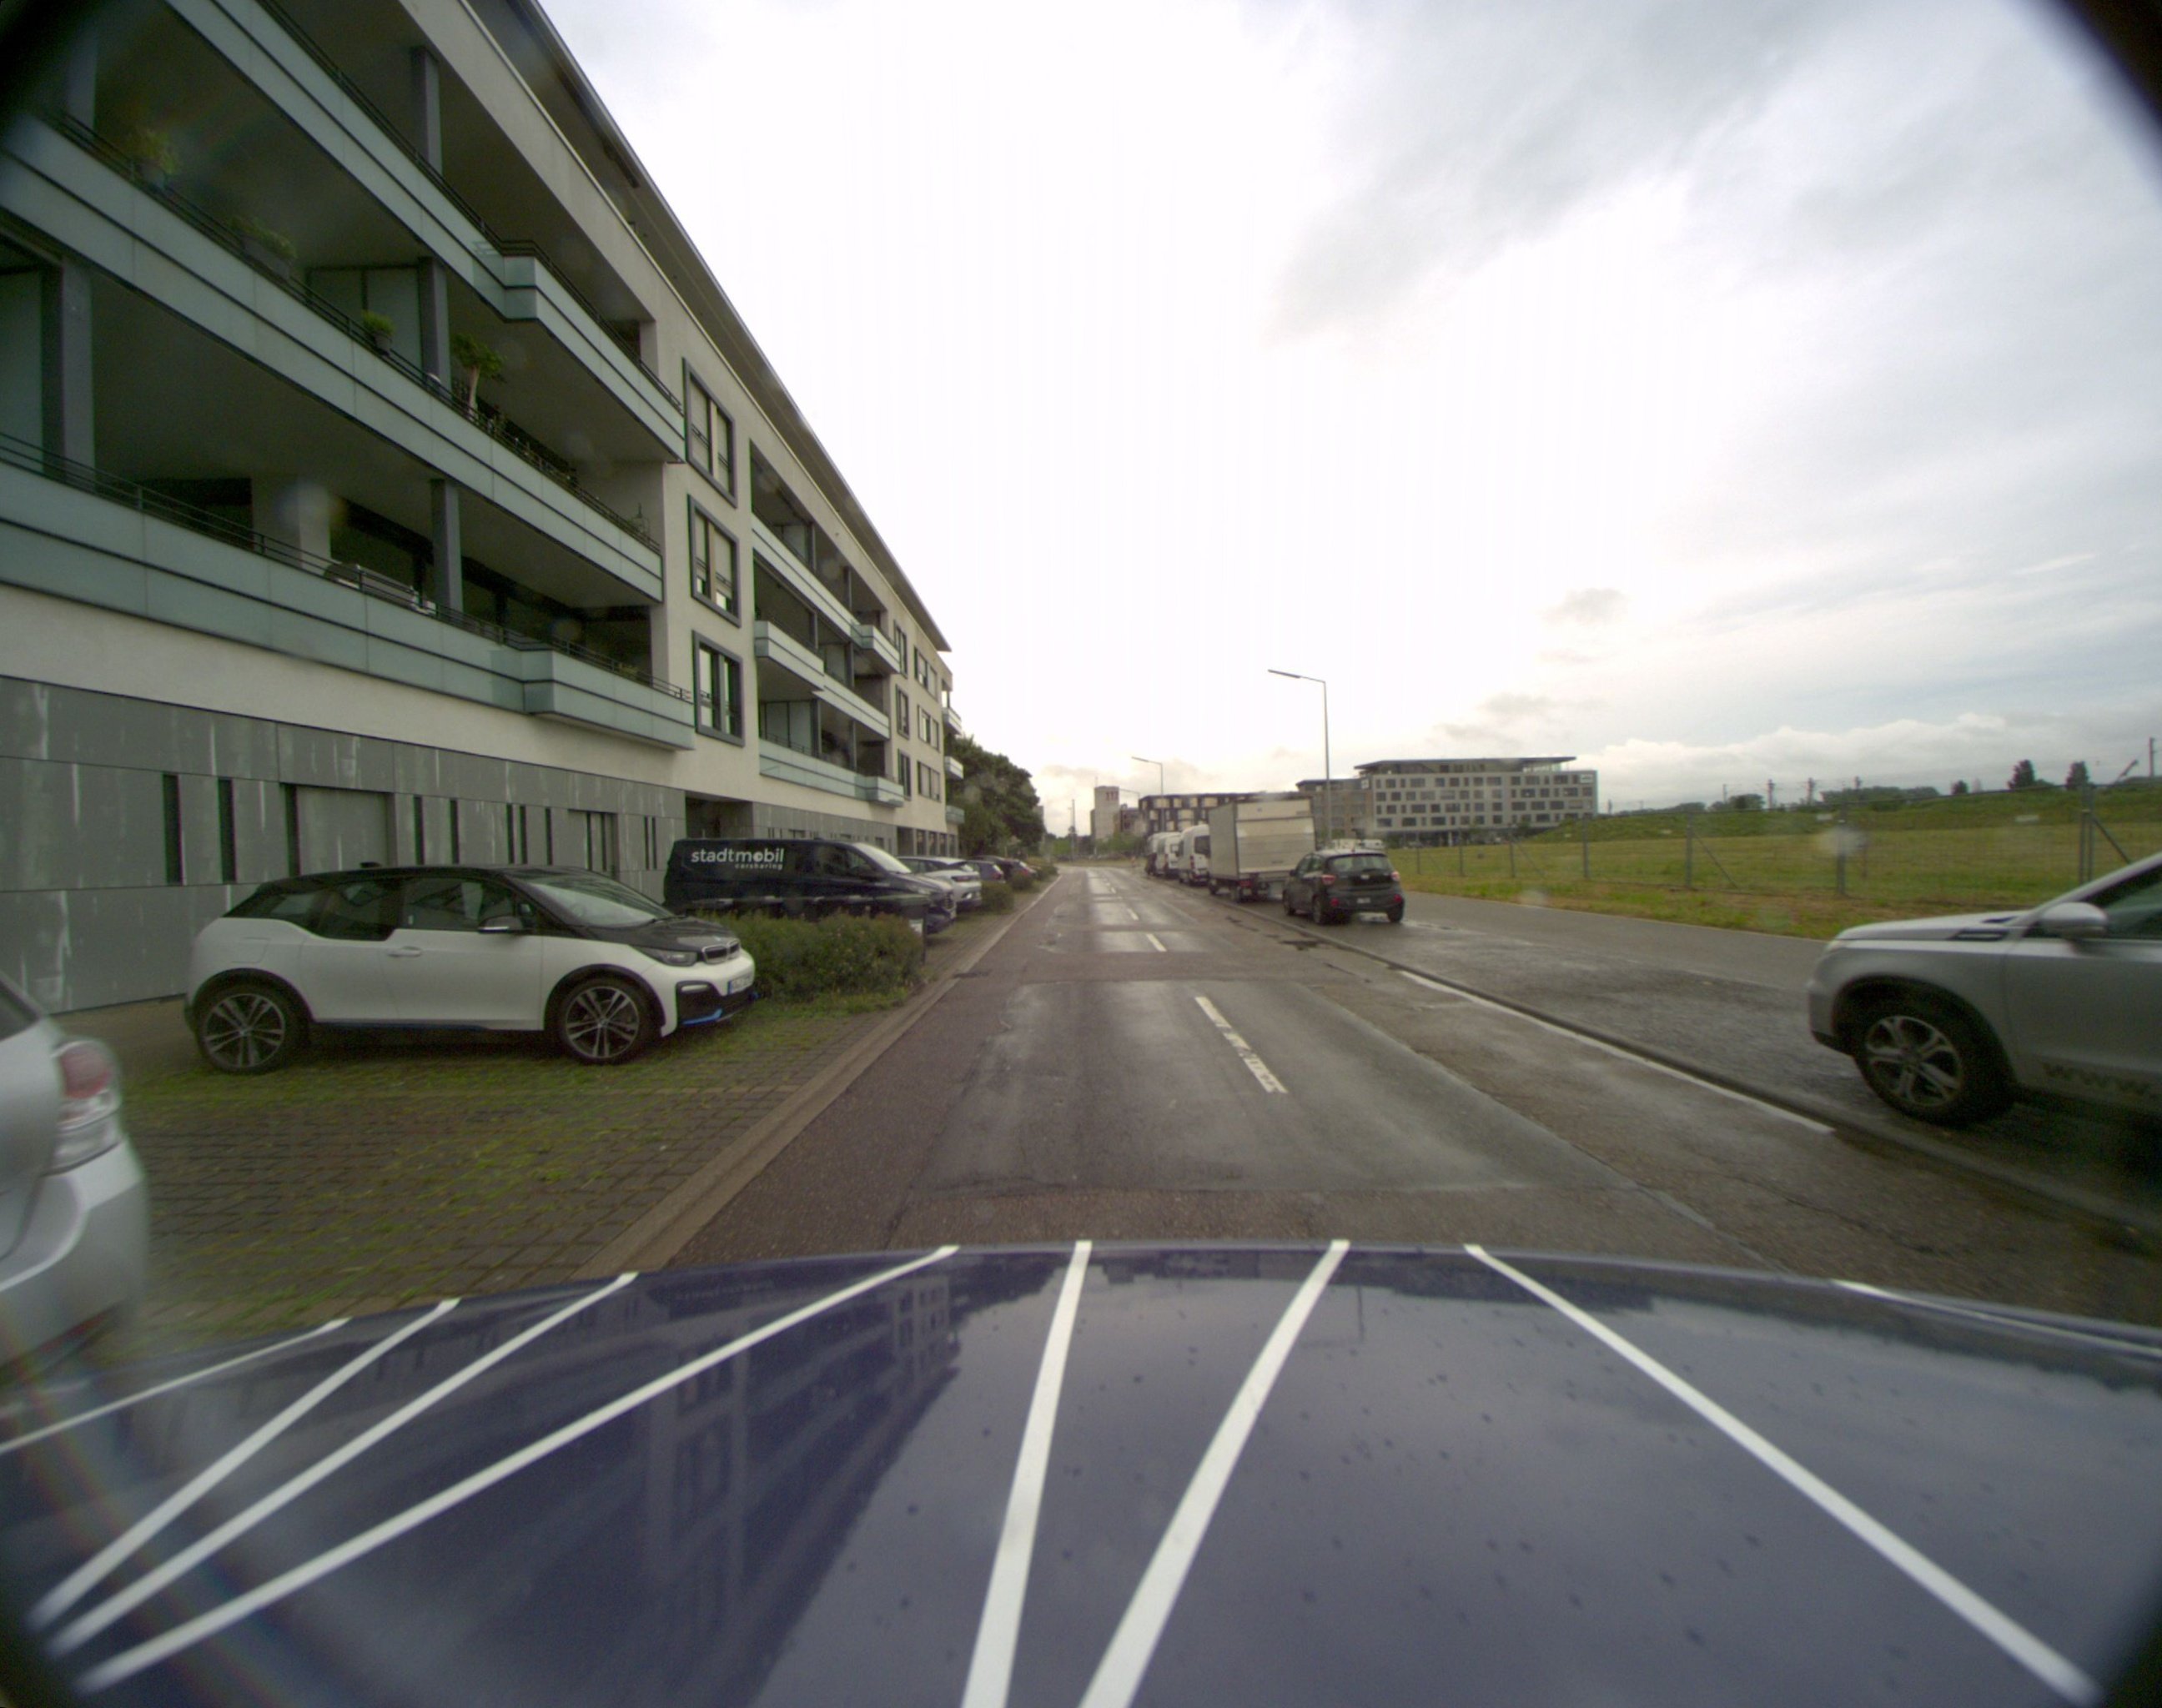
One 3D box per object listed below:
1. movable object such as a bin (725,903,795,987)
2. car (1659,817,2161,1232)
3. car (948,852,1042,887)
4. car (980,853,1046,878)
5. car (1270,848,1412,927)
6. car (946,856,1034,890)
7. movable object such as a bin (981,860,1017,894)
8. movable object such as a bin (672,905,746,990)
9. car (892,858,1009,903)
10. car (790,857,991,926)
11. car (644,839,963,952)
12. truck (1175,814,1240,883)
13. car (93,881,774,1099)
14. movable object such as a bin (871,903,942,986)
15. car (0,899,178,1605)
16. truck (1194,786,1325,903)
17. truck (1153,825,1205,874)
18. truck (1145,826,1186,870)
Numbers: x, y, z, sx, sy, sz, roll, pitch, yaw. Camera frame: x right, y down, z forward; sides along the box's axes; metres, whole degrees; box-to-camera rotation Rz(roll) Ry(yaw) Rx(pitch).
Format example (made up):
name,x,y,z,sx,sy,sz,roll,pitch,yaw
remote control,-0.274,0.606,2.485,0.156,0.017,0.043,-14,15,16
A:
name,x,y,z,sx,sy,sz,roll,pitch,yaw
movable object such as a bin,-4.404,1.229,10.467,0.540,1.040,0.817,-2,1,2
car,5.299,0.674,3.161,1.857,1.598,4.988,-5,0,-1
car,-4.607,0.816,41.158,4.796,1.654,1.867,-2,1,0
car,-4.324,0.727,48.871,3.997,1.478,1.786,-2,1,0
car,5.483,0.626,16.596,1.676,1.454,4.156,-2,1,0
car,-4.343,0.902,36.828,3.997,1.478,1.786,-2,1,0
movable object such as a bin,-3.469,0.982,32.401,1.352,1.330,0.976,-3,1,0
movable object such as a bin,-5.040,1.252,10.338,0.540,1.040,0.817,-2,1,2
car,-4.874,0.979,28.819,4.100,1.469,1.711,-2,1,0
car,-4.674,0.880,19.067,4.428,1.592,2.083,0,1,5
car,-4.856,0.702,13.873,5.062,1.918,1.982,0,1,0
truck,5.706,-0.251,35.067,2.045,2.750,6.738,-3,1,3
car,-5.080,1.023,6.490,4.187,1.474,1.749,0,1,-3
movable object such as a bin,-2.427,1.236,10.576,0.815,1.040,0.541,-1,1,39
car,-4.645,1.013,1.178,4.219,1.635,1.686,-2,1,-3
truck,5.403,-0.283,24.234,2.442,3.050,6.699,-3,1,0
truck,5.603,-0.263,44.383,2.180,2.591,6.131,-3,1,0
truck,5.661,-0.398,51.548,2.180,2.730,5.289,-3,1,0
